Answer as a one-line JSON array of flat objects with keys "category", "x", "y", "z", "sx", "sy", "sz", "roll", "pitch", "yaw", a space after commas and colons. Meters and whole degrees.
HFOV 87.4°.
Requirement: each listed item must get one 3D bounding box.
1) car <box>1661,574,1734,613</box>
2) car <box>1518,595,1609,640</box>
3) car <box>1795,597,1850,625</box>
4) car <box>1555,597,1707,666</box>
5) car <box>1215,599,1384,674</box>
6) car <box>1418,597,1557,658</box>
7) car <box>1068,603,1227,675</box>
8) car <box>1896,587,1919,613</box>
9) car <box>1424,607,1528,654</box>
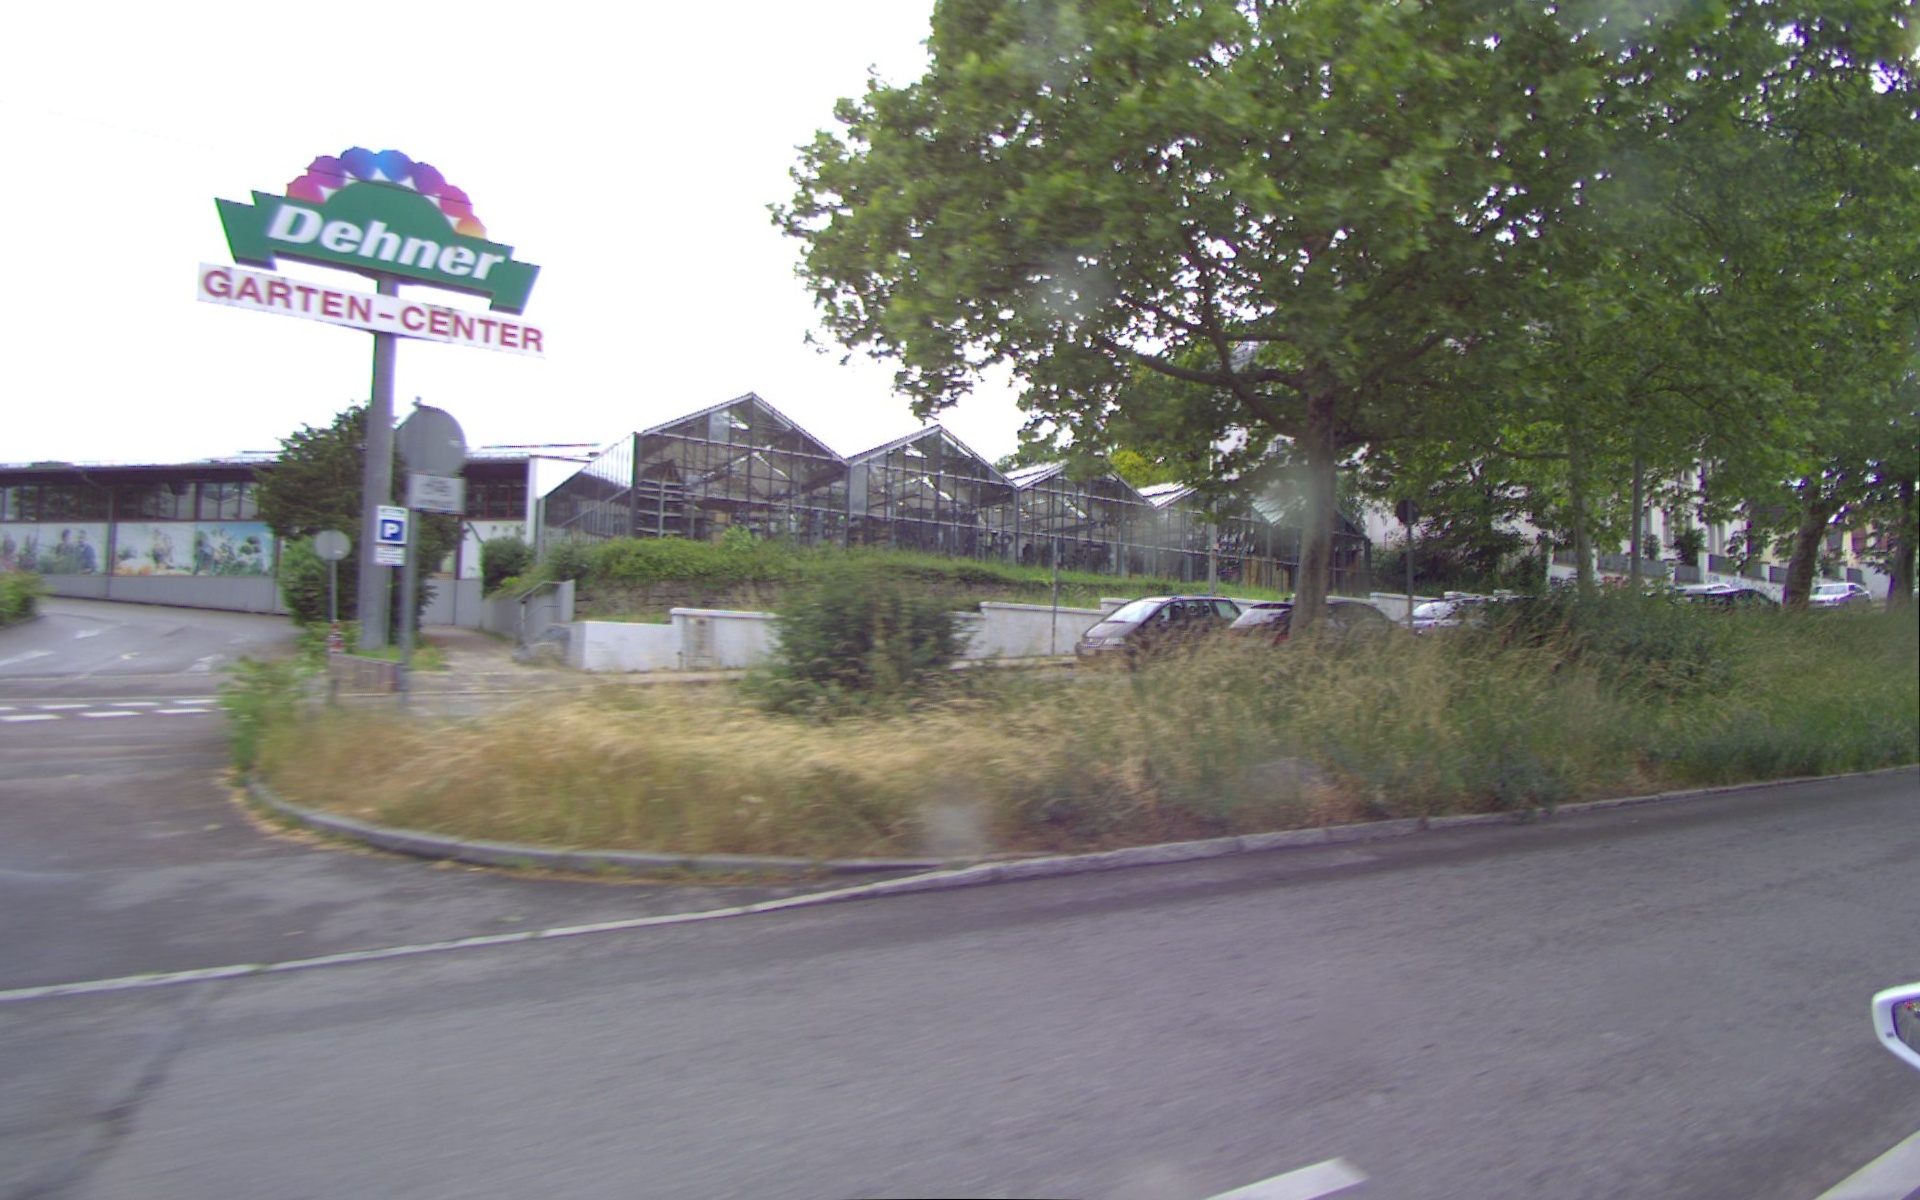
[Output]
[{"category": "car", "x": 29.291, "y": -0.238, "z": 39.882, "sx": 2.984, "sy": 1.315, "sz": 1.374, "roll": 4, "pitch": -4, "yaw": -33}, {"category": "car", "x": 20.391, "y": 0.620, "z": 33.935, "sx": 3.050, "sy": 1.326, "sz": 1.354, "roll": 3, "pitch": -4, "yaw": -30}, {"category": "car", "x": 39.960, "y": 0.509, "z": 46.526, "sx": 2.424, "sy": 1.148, "sz": 1.208, "roll": 3, "pitch": -4, "yaw": -30}, {"category": "car", "x": 15.478, "y": 0.769, "z": 23.150, "sx": 3.408, "sy": 1.422, "sz": 1.693, "roll": 4, "pitch": -4, "yaw": -33}, {"category": "car", "x": 5.807, "y": 0.645, "z": 17.124, "sx": 2.723, "sy": 1.145, "sz": 1.343, "roll": 4, "pitch": -4, "yaw": -32}, {"category": "car", "x": 10.766, "y": 0.596, "z": 20.478, "sx": 2.723, "sy": 1.110, "sz": 1.343, "roll": 4, "pitch": -4, "yaw": -32}, {"category": "car", "x": 4.392, "y": 0.946, "z": 23.430, "sx": 3.480, "sy": 1.506, "sz": 1.640, "roll": 4, "pitch": -4, "yaw": -33}, {"category": "car", "x": 52.994, "y": -0.010, "z": 55.246, "sx": 2.880, "sy": 1.266, "sz": 1.590, "roll": 4, "pitch": -4, "yaw": -33}, {"category": "car", "x": 16.048, "y": 0.978, "z": 31.216, "sx": 3.270, "sy": 1.307, "sz": 1.456, "roll": 4, "pitch": -4, "yaw": -33}]
